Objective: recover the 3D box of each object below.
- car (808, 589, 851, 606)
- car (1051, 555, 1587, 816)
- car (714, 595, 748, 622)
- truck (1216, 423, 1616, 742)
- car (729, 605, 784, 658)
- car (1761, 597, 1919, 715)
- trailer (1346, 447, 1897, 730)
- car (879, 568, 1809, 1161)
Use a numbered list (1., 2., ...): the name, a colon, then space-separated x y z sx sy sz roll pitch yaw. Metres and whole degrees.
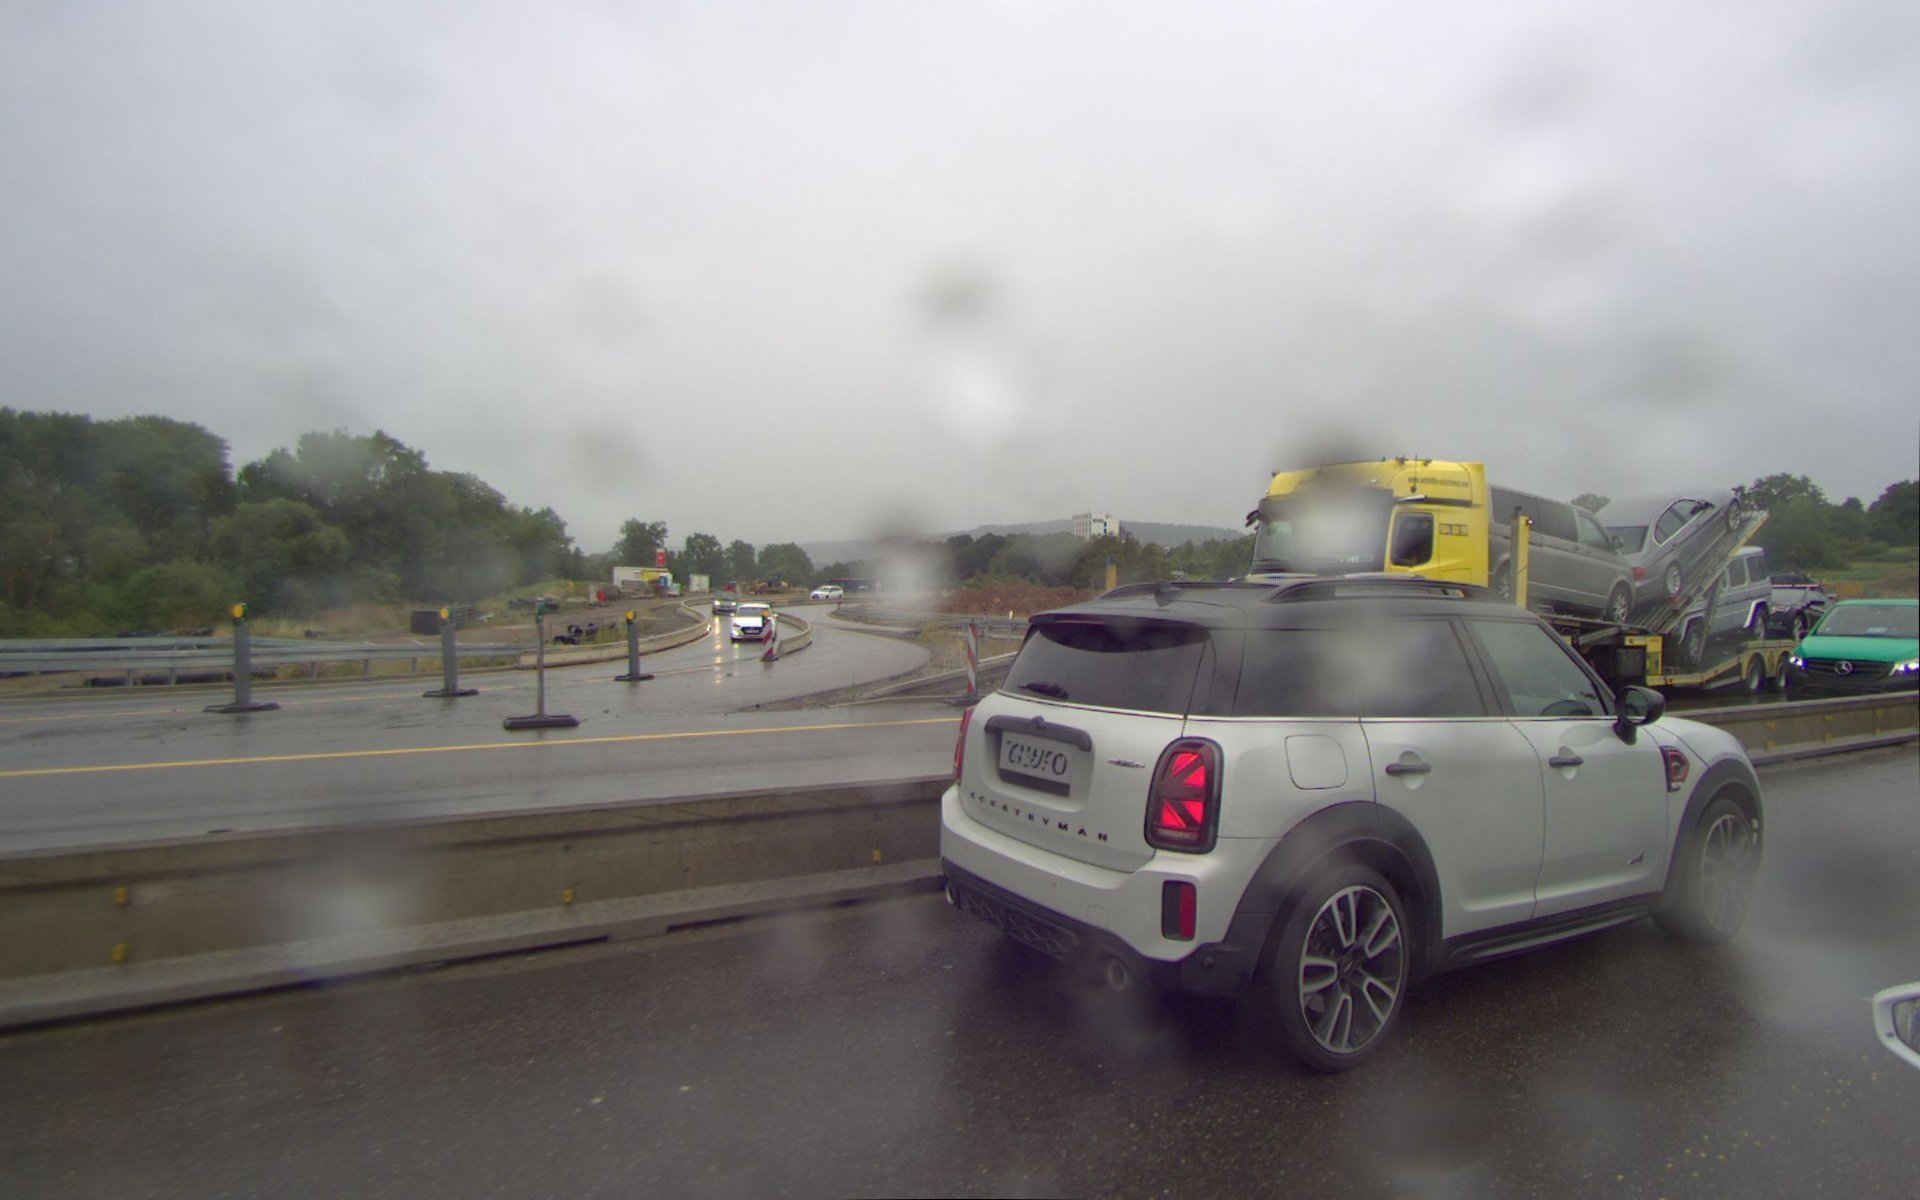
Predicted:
1. car: -13.613 -0.245 105.011 1.817 1.723 5.036 1 0 30
2. car: 3.415 0.658 9.141 5.130 1.829 1.778 1 -1 -31
3. car: -15.302 0.567 67.320 1.816 1.723 5.039 1 0 -8
4. truck: 7.227 -0.186 15.743 6.077 4.116 2.735 1 0 -31
5. car: -8.512 1.275 42.312 2.034 2.090 4.835 1 0 -9
6. car: 15.942 0.880 17.203 4.634 1.782 1.983 1 0 -31
7. trailer: 13.696 -0.064 19.648 15.182 4.096 2.735 1 0 -31
8. car: 1.929 0.729 4.640 4.259 1.622 1.806 0 0 -31
